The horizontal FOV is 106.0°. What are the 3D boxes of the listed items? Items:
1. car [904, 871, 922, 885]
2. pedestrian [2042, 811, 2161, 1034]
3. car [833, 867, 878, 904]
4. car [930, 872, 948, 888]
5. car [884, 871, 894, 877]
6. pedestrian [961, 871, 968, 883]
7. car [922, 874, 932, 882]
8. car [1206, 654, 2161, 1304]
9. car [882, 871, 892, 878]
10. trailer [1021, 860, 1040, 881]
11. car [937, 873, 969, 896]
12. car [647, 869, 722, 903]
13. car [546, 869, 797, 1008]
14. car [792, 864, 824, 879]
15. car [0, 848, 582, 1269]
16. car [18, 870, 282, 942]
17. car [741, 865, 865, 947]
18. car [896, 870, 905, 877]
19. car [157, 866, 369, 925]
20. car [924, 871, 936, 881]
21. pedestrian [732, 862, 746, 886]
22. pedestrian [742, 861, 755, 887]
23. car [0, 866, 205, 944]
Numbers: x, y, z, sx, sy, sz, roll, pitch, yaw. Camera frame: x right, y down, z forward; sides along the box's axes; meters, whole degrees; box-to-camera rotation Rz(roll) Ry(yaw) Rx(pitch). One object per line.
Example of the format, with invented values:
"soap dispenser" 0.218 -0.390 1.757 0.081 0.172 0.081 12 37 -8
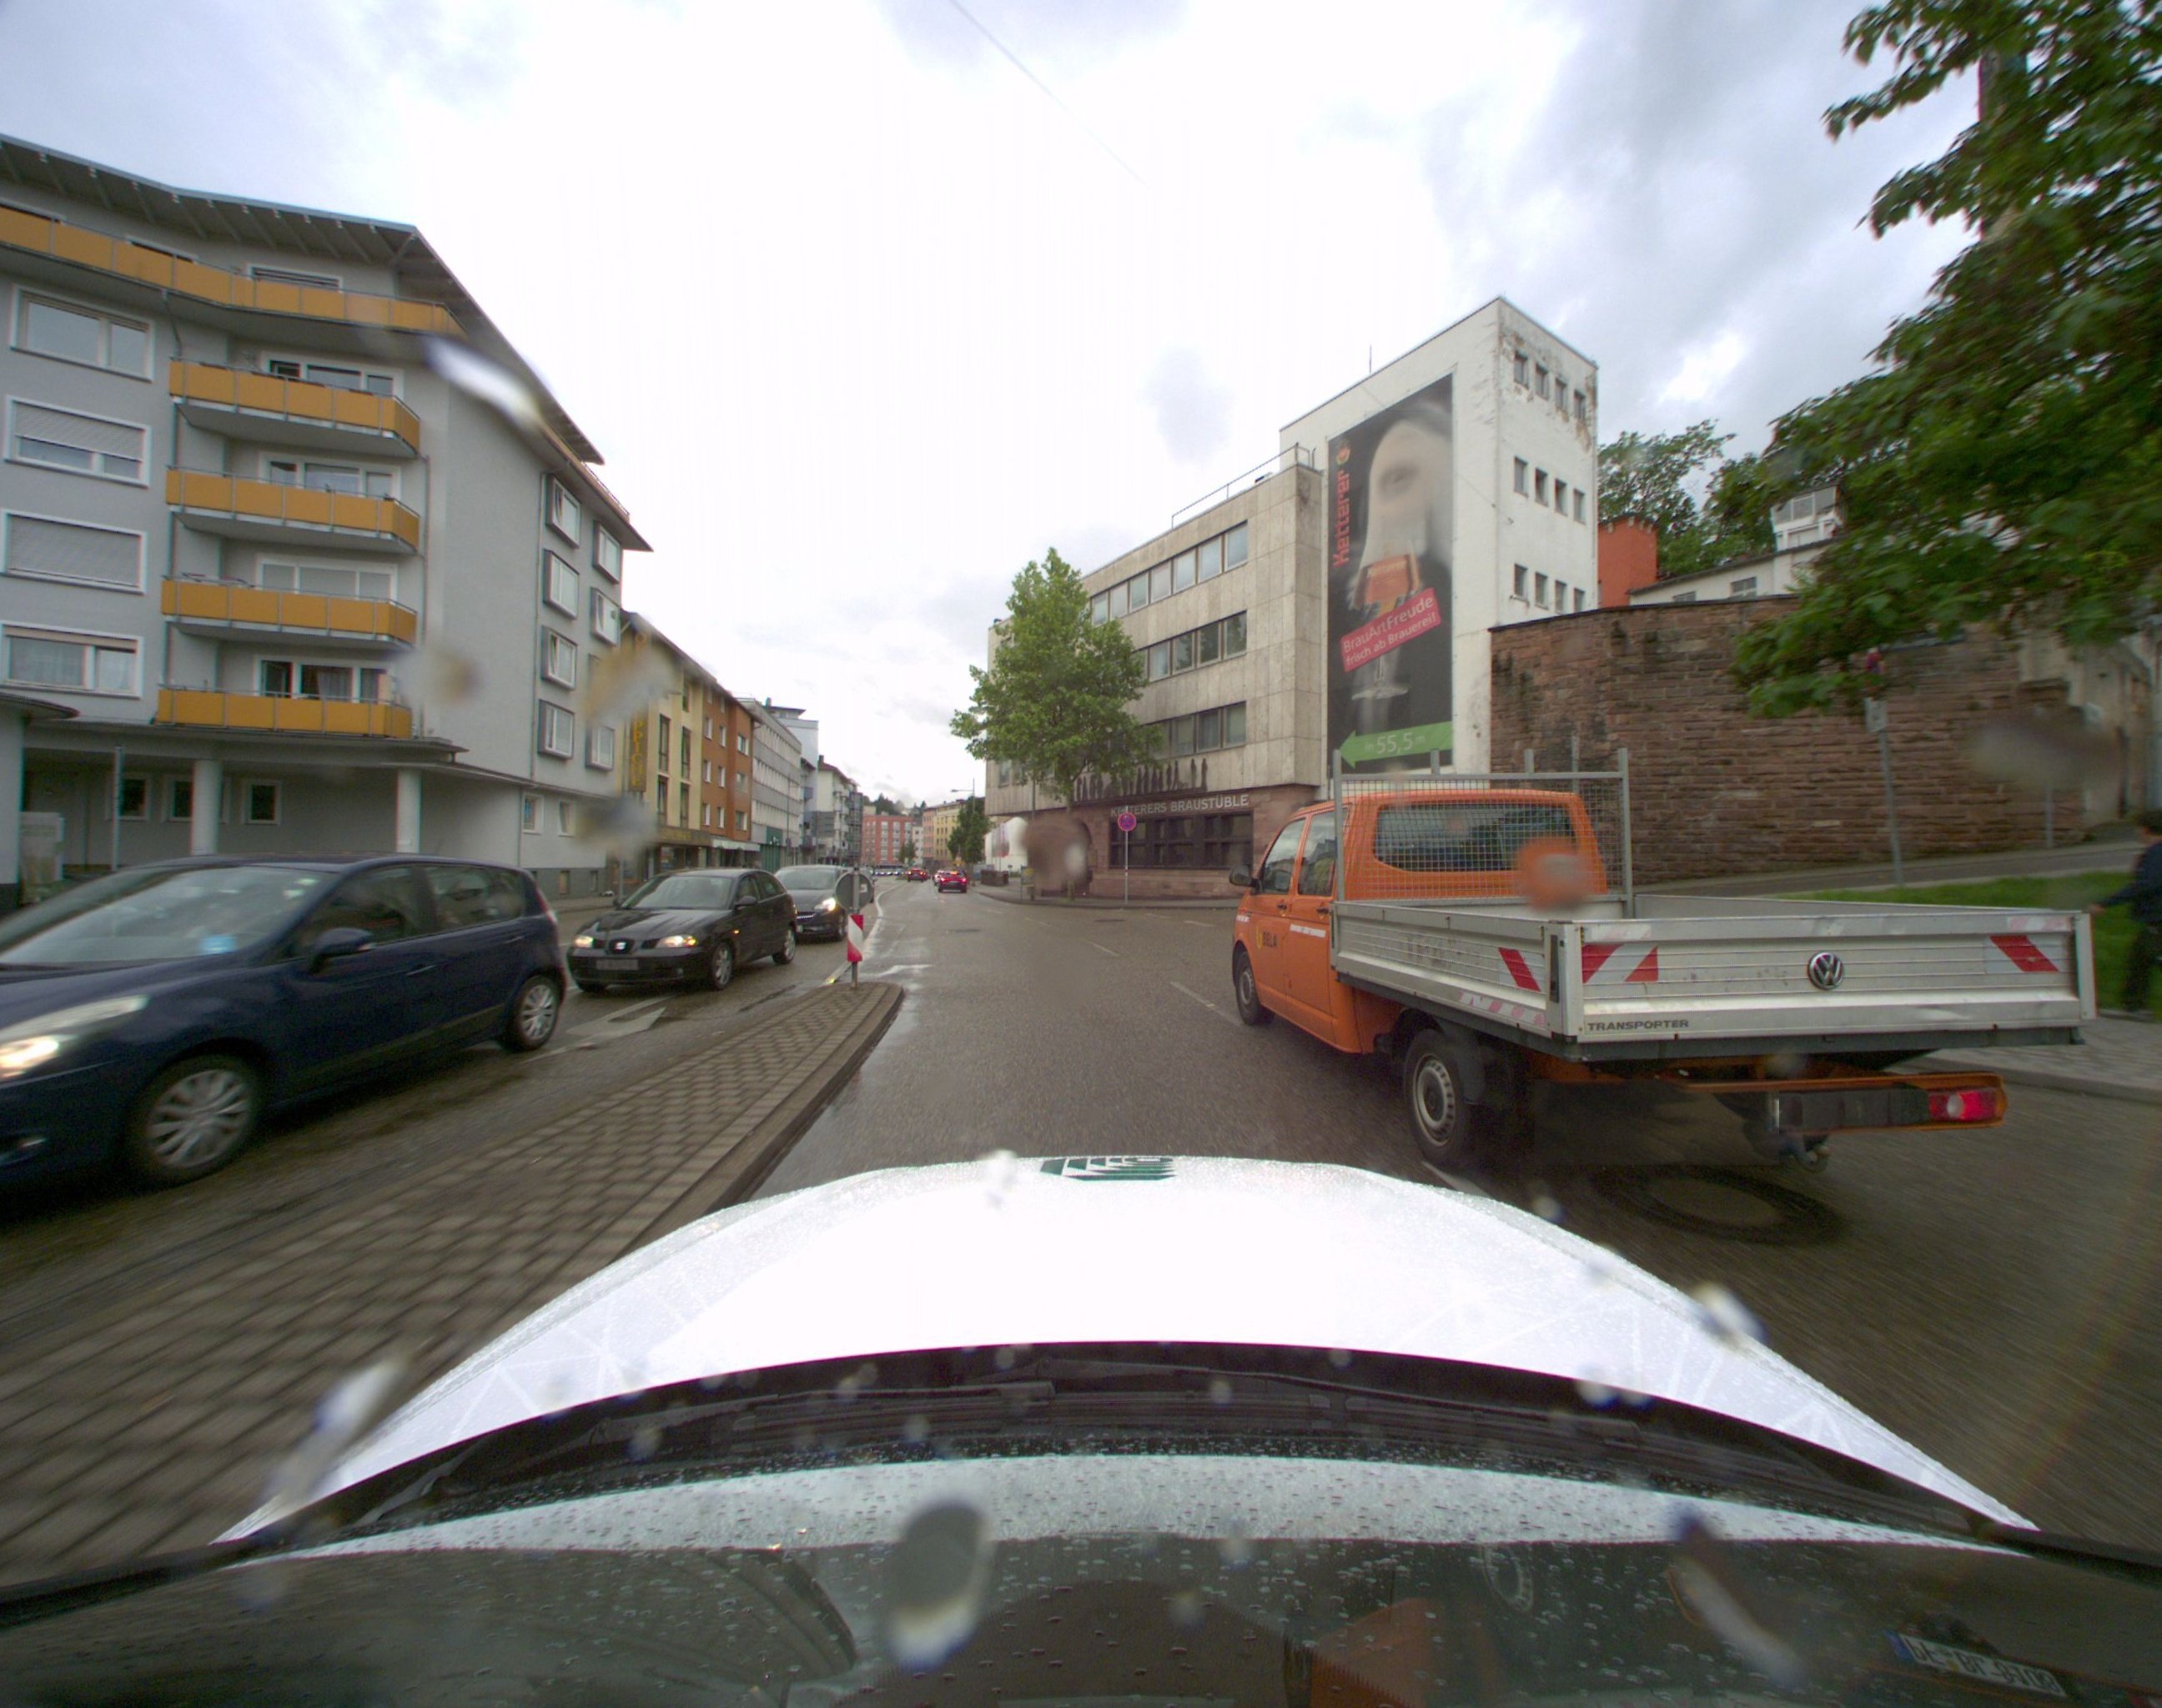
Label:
"car" -20.073 2.869 97.345 1.823 1.601 3.705 3 -2 -10
"pedestrian" 8.371 0.508 6.401 0.574 1.686 0.955 -3 2 -29
"car" -9.620 1.310 34.708 1.736 1.440 4.388 0 -1 -16
"car" -13.873 2.536 79.441 1.665 1.396 3.852 2 0 -11
"car" -44.733 4.715 189.737 1.725 1.423 4.139 -1 -1 -18
"pedestrian" -17.235 3.439 120.330 0.788 1.755 0.872 0 -2 3
"car" -25.272 3.916 133.776 1.642 1.381 3.334 0 -1 -12
"car" 2.461 0.423 5.472 2.097 2.089 5.535 -1 -1 -3
"car" -40.174 4.208 168.901 1.708 1.468 4.812 -1 -1 -10
"trailer" -7.045 2.253 113.165 2.126 2.716 5.375 -1 -1 -8
"car" -8.790 2.063 55.720 1.791 1.403 4.612 3 -2 -13
"car" -16.981 1.370 35.051 1.728 1.366 4.096 1 -3 -9
"car" -5.017 0.933 10.569 1.552 1.398 3.722 0 0 -4
"car" -38.204 2.505 114.059 3.962 2.034 1.575 1 -2 -10
"car" -5.160 0.794 5.059 1.752 1.614 4.205 0 0 -4
"car" -21.236 1.140 18.733 3.758 1.421 1.632 -2 -1 -11
"car" -5.501 0.960 16.564 1.643 1.453 3.978 1 -1 -8
"car" -37.715 4.084 169.993 1.721 1.423 4.150 -1 -1 -10
"car" -21.149 1.041 21.200 3.626 1.338 1.489 -2 -1 -13
"car" -20.837 3.022 112.170 1.642 1.381 3.334 0 -1 -12
"pedestrian" -24.549 1.413 58.502 0.630 1.676 0.904 6 -3 -11
"pedestrian" -23.959 1.424 58.711 0.575 1.789 0.823 5 -3 -10
"car" -20.677 1.044 16.381 3.813 1.421 1.791 -2 -2 -11
